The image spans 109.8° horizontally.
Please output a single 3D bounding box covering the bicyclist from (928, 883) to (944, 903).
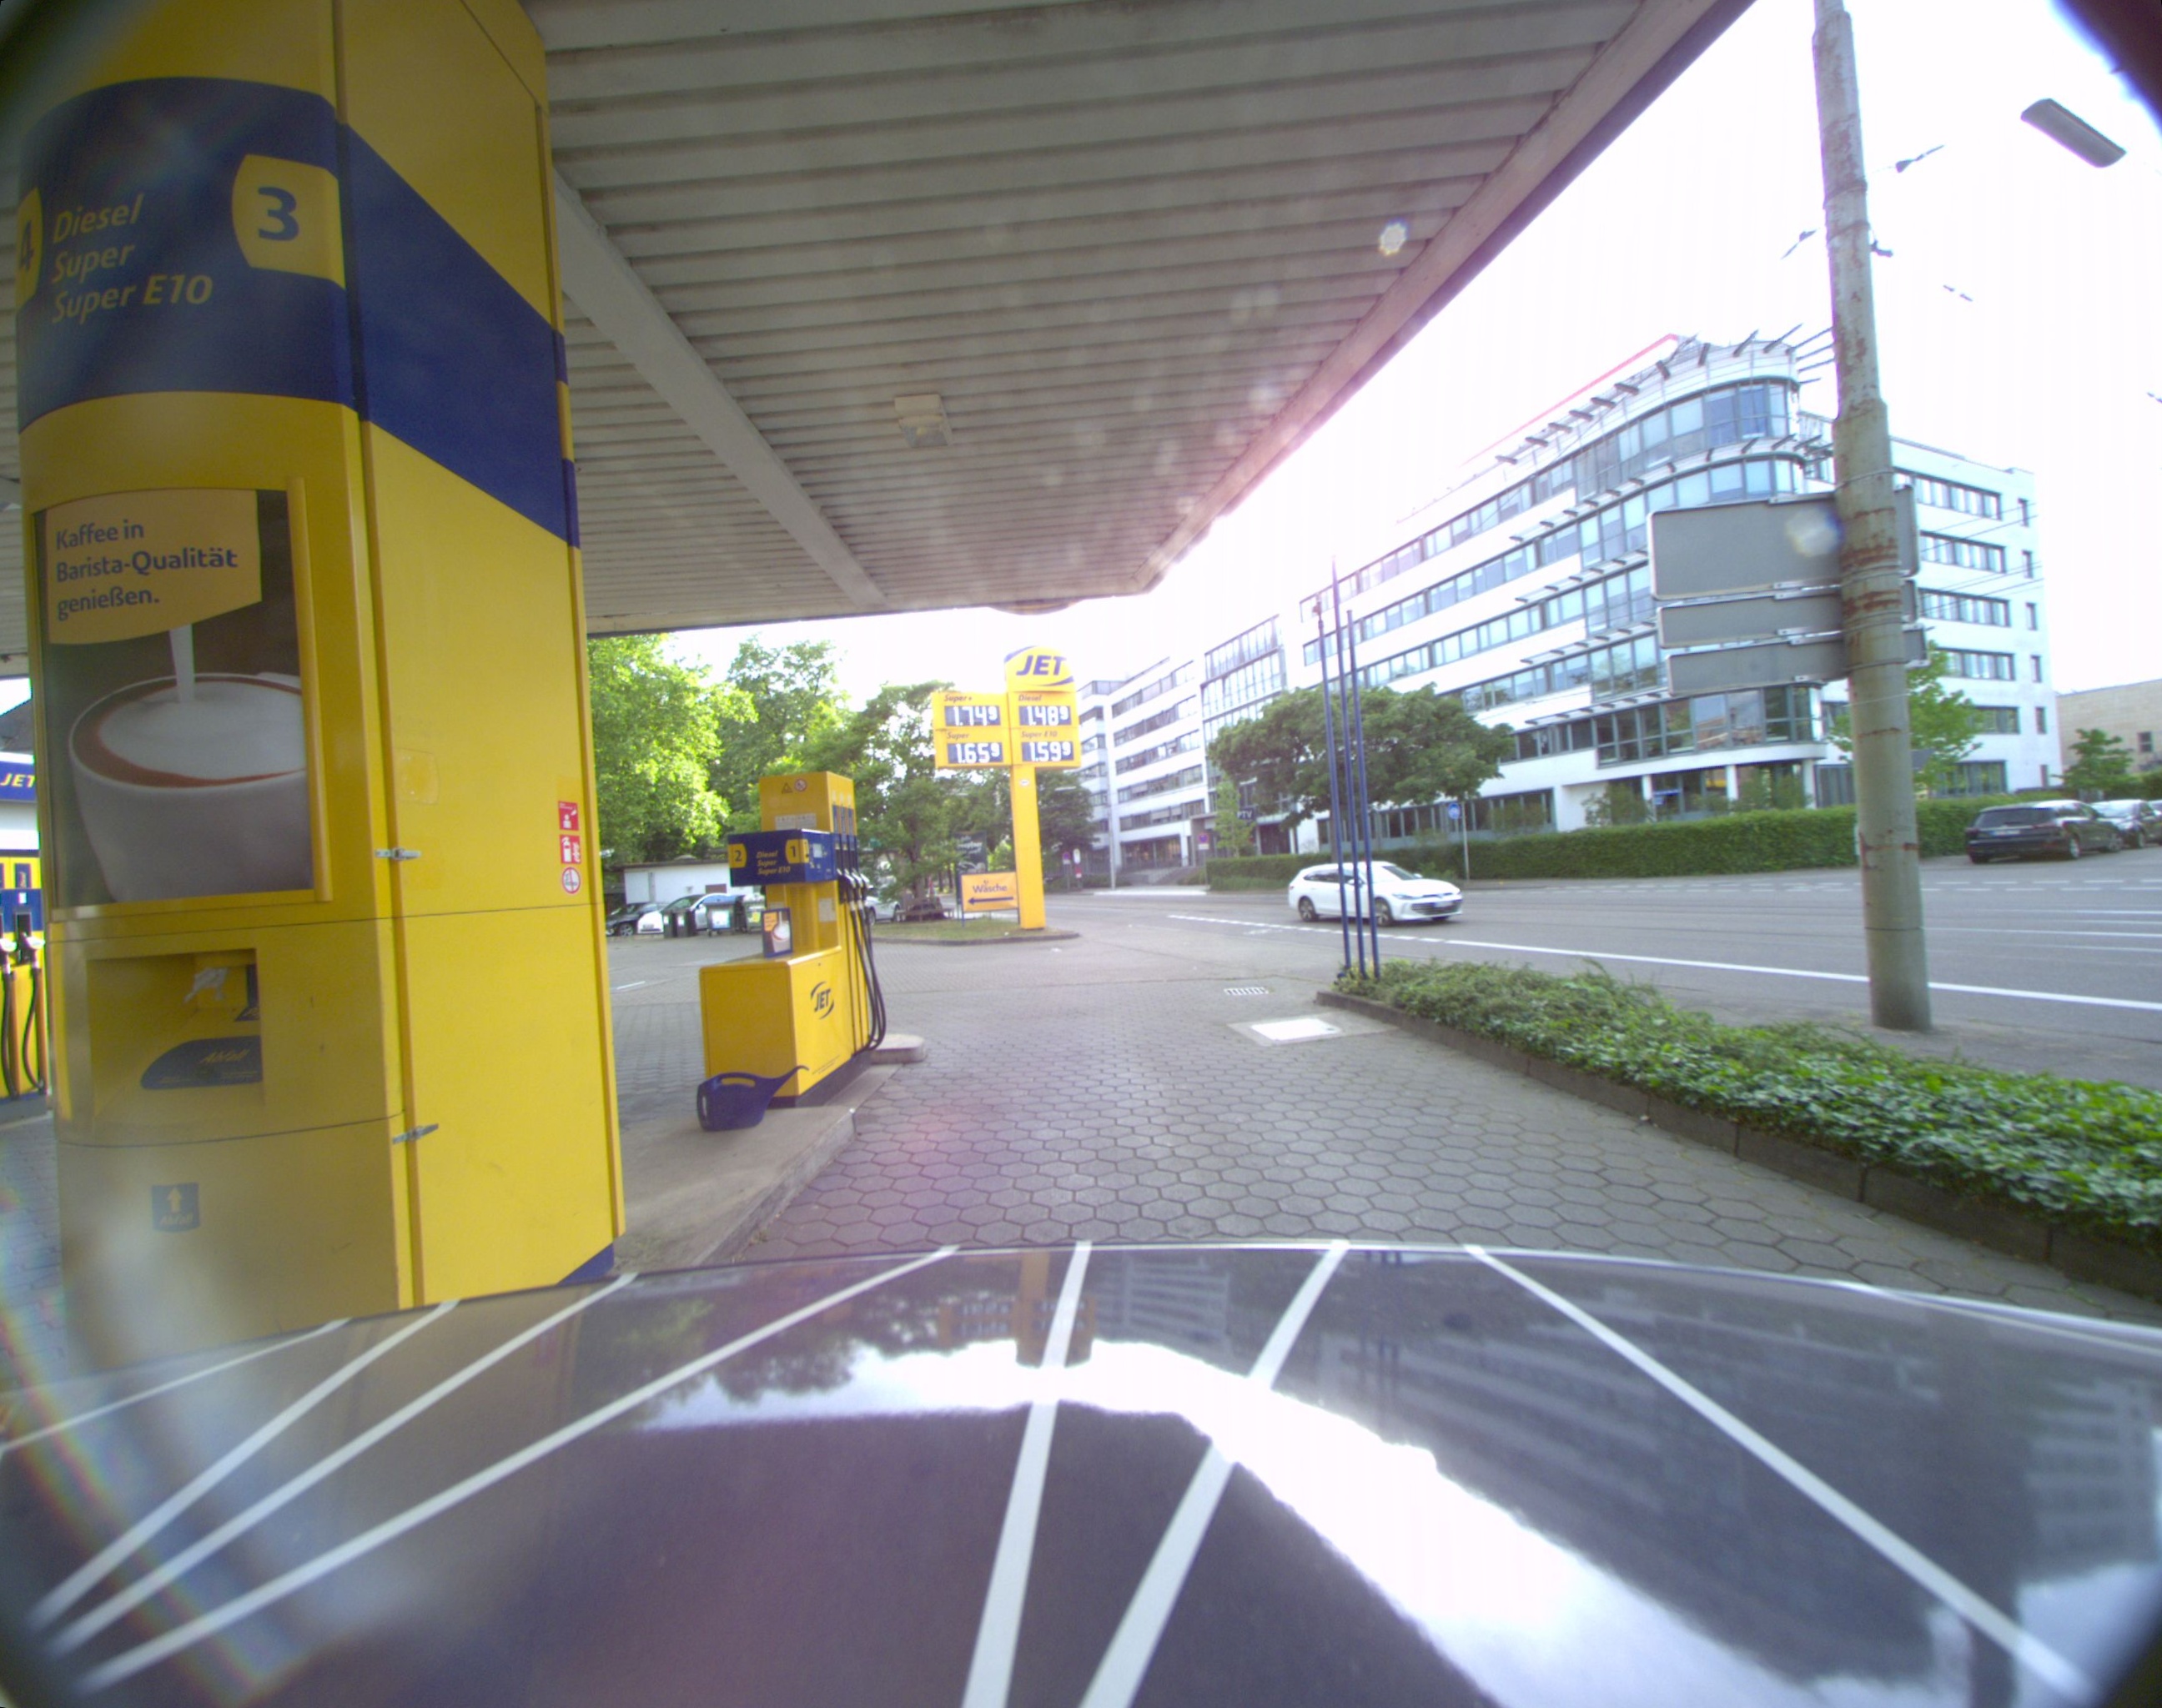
[{"bbox_3d":[-10.587,2.844,55.505,0.854,1.415,1.036,-5,2,-22],"label":"bicyclist"}]

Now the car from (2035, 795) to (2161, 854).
[{"bbox_3d":[32.575,-0.960,24.082,4.201,1.568,1.820,-4,-1,-24],"label":"car"}]

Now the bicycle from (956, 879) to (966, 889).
[{"bbox_3d":[-14.869,3.688,93.973,0.792,1.232,1.879,-3,0,-22],"label":"bicycle"}]

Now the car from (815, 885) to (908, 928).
[{"bbox_3d":[-8.657,2.046,30.396,1.823,1.449,4.200,-4,-2,10],"label":"car"}]

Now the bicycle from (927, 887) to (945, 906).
[{"bbox_3d":[-10.606,3.089,55.569,0.854,1.232,1.879,-5,1,-22],"label":"bicycle"}]

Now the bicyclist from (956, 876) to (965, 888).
[{"bbox_3d":[-14.903,3.498,94.034,0.792,1.443,1.174,-3,1,-22],"label":"bicyclist"}]

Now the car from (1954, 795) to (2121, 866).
[{"bbox_3d":[27.416,-0.670,21.772,4.397,1.678,1.820,-4,-1,-24],"label":"car"}]

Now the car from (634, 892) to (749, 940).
[{"bbox_3d":[-15.390,2.412,30.273,1.823,1.575,4.200,-4,-2,10],"label":"car"}]

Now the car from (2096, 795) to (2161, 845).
[{"bbox_3d":[37.104,-1.255,26.030,4.201,1.568,1.820,-4,-1,-24],"label":"car"}]

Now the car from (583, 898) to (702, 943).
[{"bbox_3d":[-17.535,2.630,30.628,1.823,1.426,4.200,-4,-2,10],"label":"car"}]

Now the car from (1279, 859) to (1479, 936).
[{"bbox_3d":[7.139,0.999,18.852,1.865,1.500,4.821,-5,0,-18],"label":"car"}]

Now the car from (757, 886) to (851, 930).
[{"bbox_3d":[-11.747,2.264,32.484,1.823,1.575,4.200,-4,-2,10],"label":"car"}]
